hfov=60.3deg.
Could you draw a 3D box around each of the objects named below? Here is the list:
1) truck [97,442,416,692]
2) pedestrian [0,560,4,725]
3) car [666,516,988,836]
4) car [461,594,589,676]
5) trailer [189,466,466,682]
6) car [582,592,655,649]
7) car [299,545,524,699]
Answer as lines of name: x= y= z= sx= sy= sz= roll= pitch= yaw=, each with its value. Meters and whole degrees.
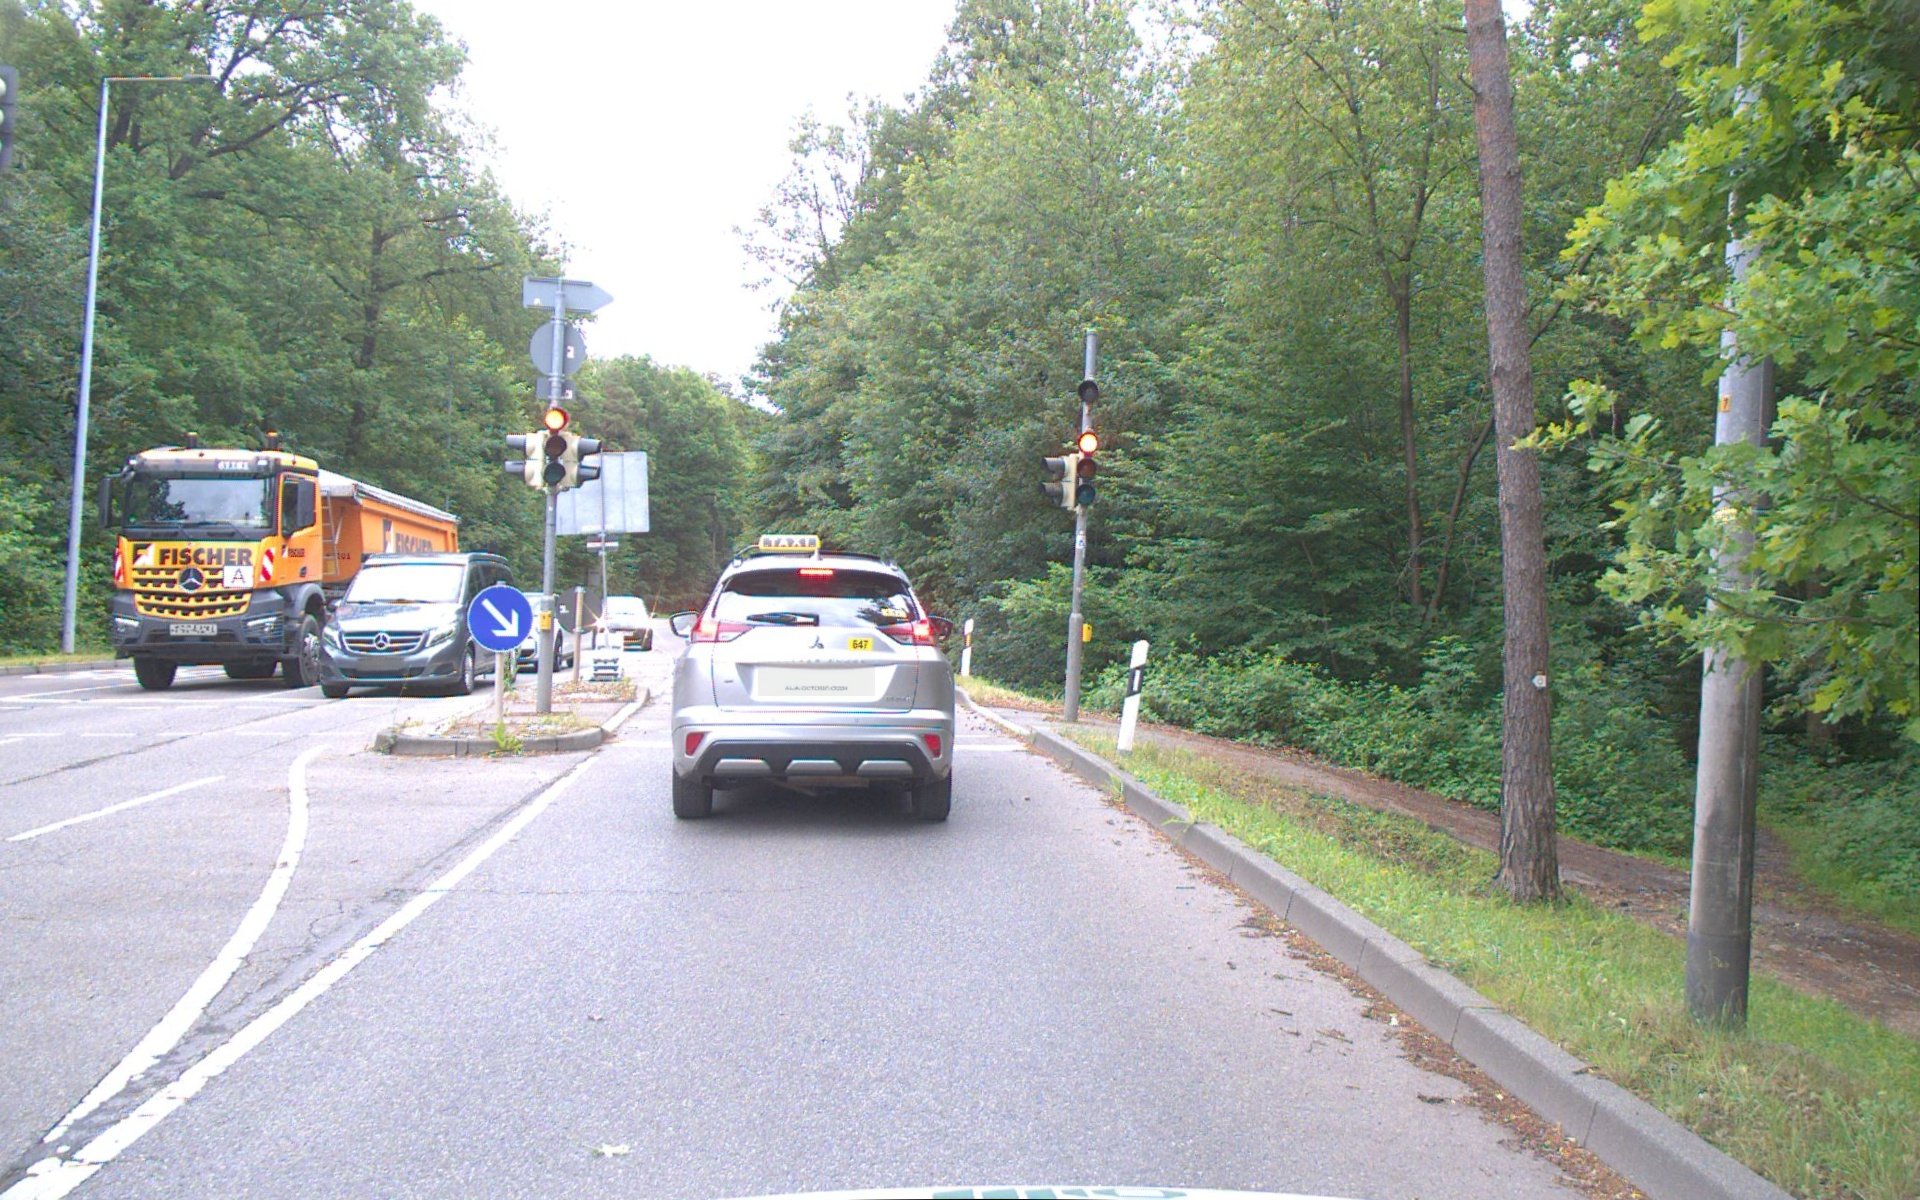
truck: x=-10.716 y=-0.415 z=26.045 sx=2.686 sy=3.376 sz=7.149 roll=0 pitch=-1 yaw=-7
pedestrian: x=-10.298 y=0.439 z=16.379 sx=1.025 sy=1.678 sz=1.069 roll=1 pitch=1 yaw=2
car: x=-0.968 y=0.431 z=11.584 sx=1.811 sy=1.811 sz=3.995 roll=2 pitch=0 yaw=-6
car: x=-7.937 y=0.596 z=30.490 sx=1.580 sy=1.344 sz=3.718 roll=-1 pitch=1 yaw=-4
trailer: x=-11.210 y=-0.376 z=30.296 sx=2.686 sy=3.376 sz=8.556 roll=0 pitch=-1 yaw=-7
car: x=-9.787 y=0.574 z=47.645 sx=1.777 sy=1.534 sz=3.714 roll=-1 pitch=0 yaw=-8
car: x=-7.572 y=0.285 z=23.335 sx=1.955 sy=1.927 sz=4.833 roll=0 pitch=0 yaw=-5
